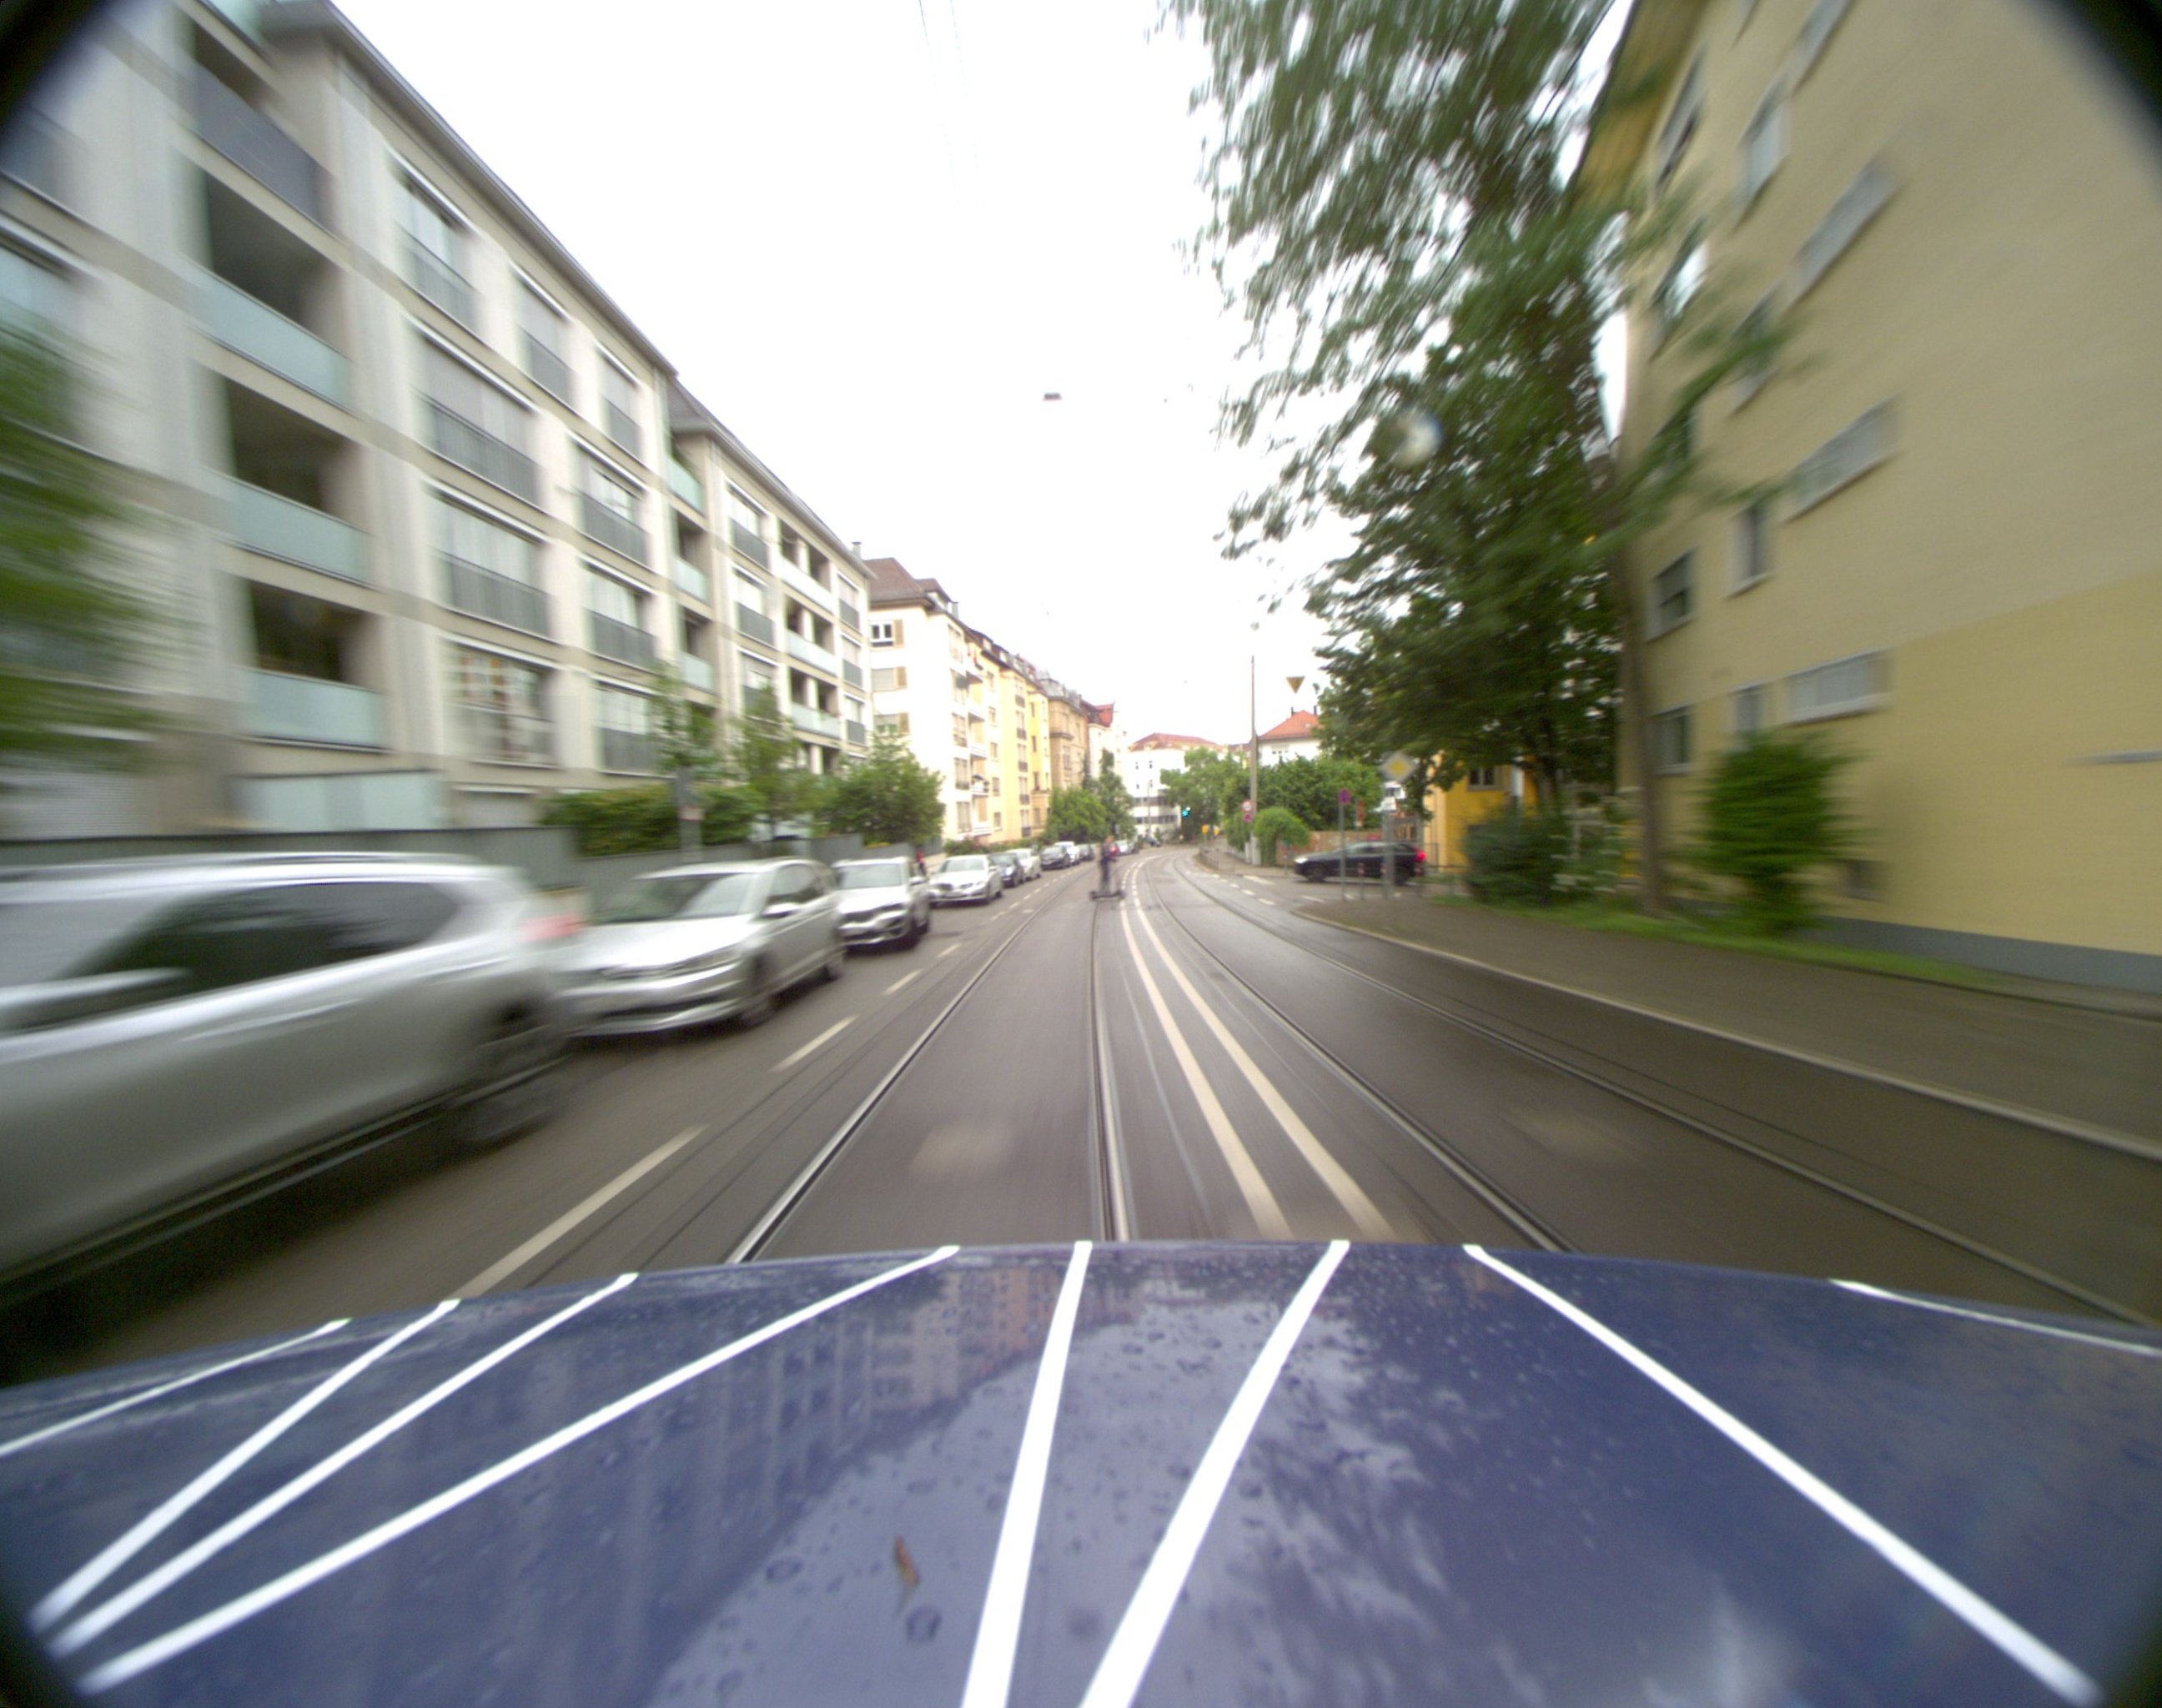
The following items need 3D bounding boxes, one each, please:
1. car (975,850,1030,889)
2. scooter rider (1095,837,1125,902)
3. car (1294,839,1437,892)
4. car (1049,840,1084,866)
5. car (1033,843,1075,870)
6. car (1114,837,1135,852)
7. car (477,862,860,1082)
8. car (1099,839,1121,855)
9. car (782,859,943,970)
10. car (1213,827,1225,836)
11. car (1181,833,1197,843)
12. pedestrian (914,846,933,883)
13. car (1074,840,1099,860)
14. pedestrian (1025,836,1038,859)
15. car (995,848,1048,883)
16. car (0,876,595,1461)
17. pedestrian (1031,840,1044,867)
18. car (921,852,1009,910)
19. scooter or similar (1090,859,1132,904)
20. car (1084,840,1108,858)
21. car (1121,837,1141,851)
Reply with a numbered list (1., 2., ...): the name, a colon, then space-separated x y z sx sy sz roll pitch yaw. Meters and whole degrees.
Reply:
1. car: -3.181 0.586 31.414 1.600 1.416 3.515 -3 1 3
2. scooter rider: 0.855 0.438 22.013 0.688 1.847 0.646 0 2 19
3. car: 10.539 0.369 28.320 4.759 1.669 2.074 3 3 22
4. car: -0.943 -0.108 51.795 1.798 1.613 3.868 -4 1 6
5. car: -1.627 0.103 46.857 1.797 1.444 4.104 -4 1 9
6. car: 4.715 -1.048 82.323 1.613 1.434 3.690 -4 1 13
7. car: -4.040 0.987 8.555 1.837 1.618 4.662 -3 1 -2
8. car: 2.814 -0.691 73.575 1.556 1.360 3.126 -4 1 13
9. car: -3.855 0.960 14.260 1.981 1.575 4.564 -3 1 -5
10. car: 27.676 -4.518 152.434 1.796 1.502 4.004 -1 2 20
11. car: 18.474 -2.773 130.020 1.796 1.502 4.004 -1 2 20
12. pedestrian: -6.696 0.437 32.295 0.583 1.577 0.568 -2 2 -29
13. car: 0.478 -0.305 61.246 1.590 1.434 3.477 -4 1 6
14. pedestrian: -3.345 -0.463 51.571 0.666 1.560 0.915 0 2 9
15. car: -2.767 0.493 36.132 1.721 1.458 4.391 -3 1 5
16. car: -4.218 1.042 2.786 1.837 1.646 4.685 -3 1 -1
17. pedestrian: -2.849 -0.044 49.955 0.716 1.703 0.665 0 2 9
18. car: -3.524 0.757 24.018 1.862 1.507 4.789 -3 1 2
19. scooter or similar: 0.872 0.773 22.025 1.087 1.254 0.646 0 2 19
20. car: 1.346 -0.441 66.497 1.658 1.360 3.637 -4 1 7
21. car: 5.748 -1.219 87.272 1.613 1.434 3.690 -4 1 13
